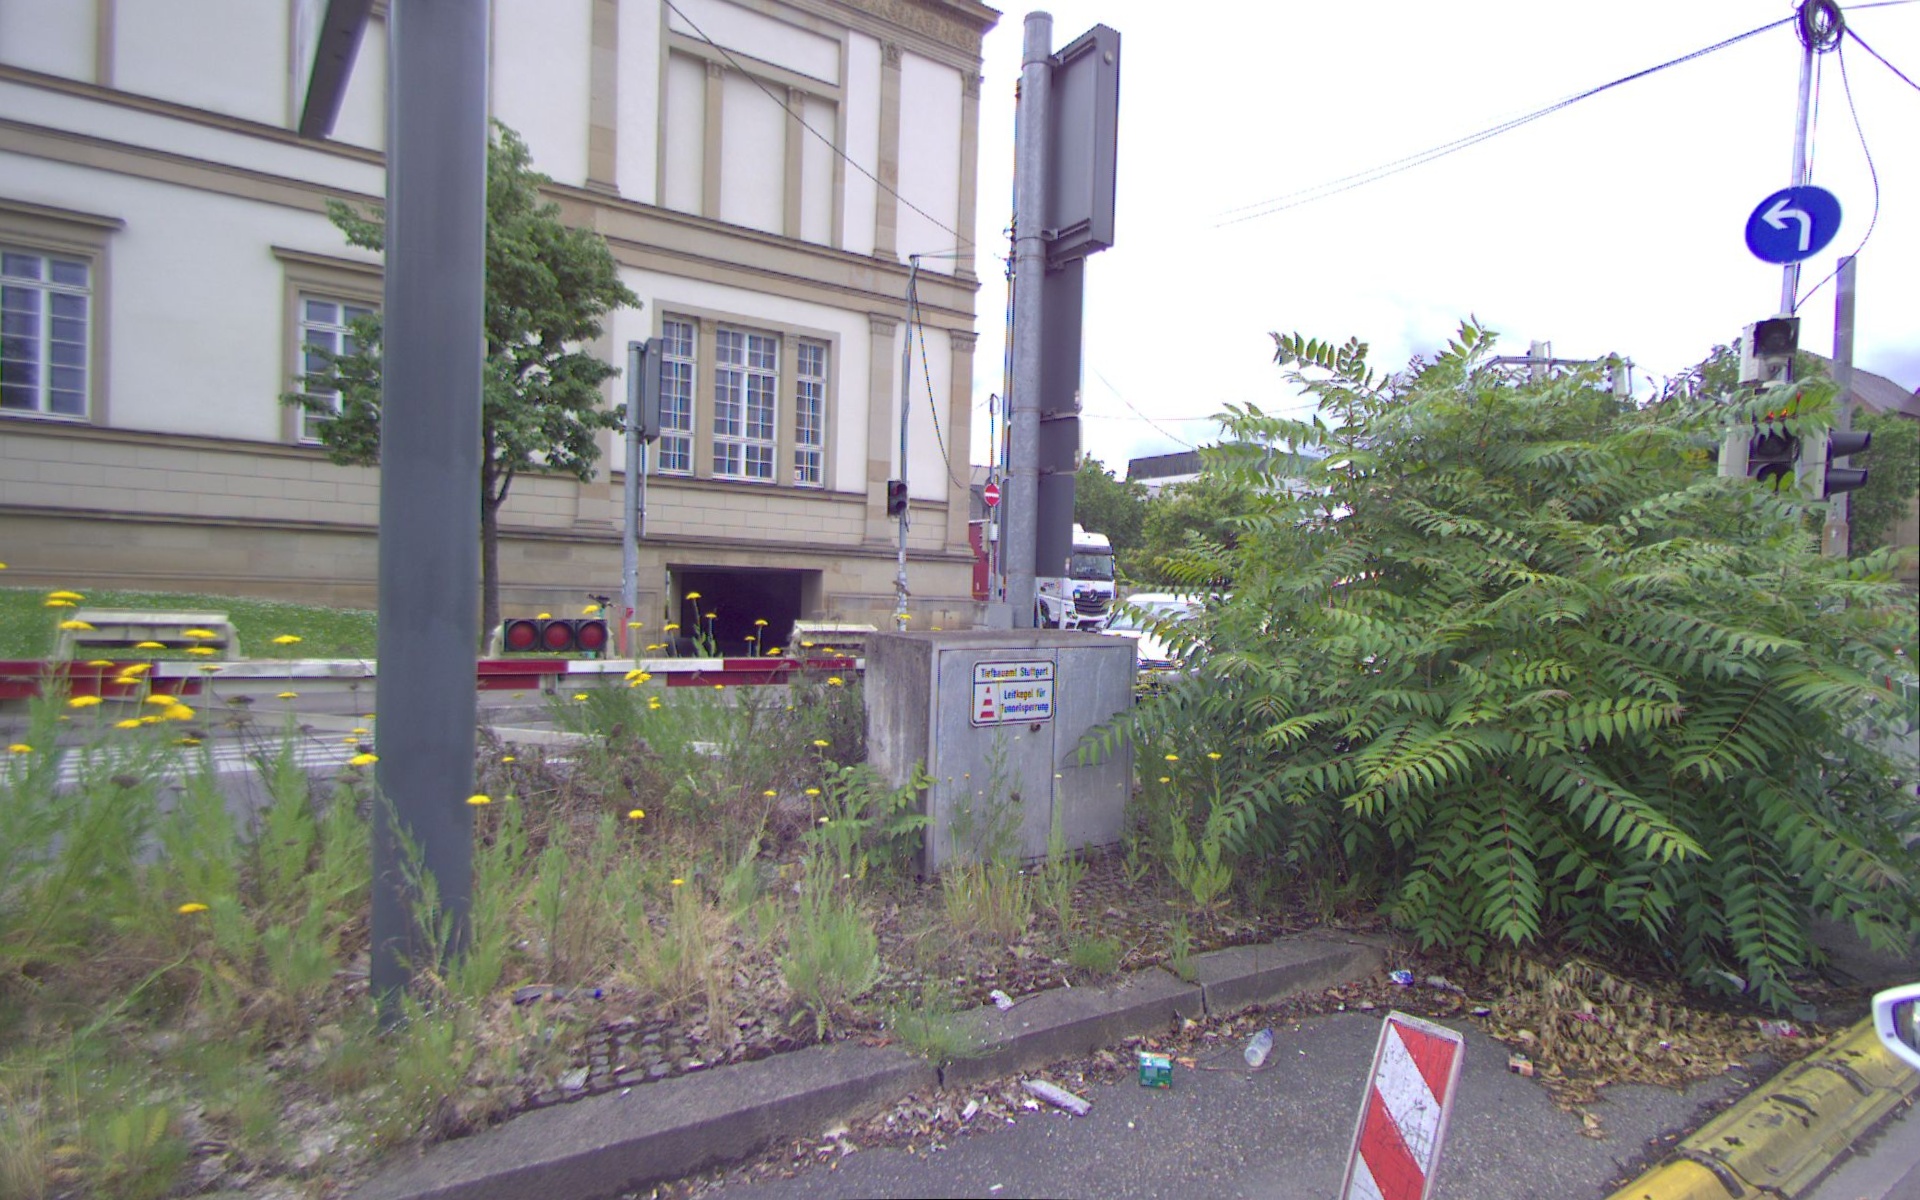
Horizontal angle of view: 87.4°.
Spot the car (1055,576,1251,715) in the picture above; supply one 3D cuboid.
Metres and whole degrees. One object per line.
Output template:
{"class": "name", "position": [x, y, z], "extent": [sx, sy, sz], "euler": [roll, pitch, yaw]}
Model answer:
{"class": "car", "position": [3.048, 0.612, 15.187], "extent": [1.804, 1.769, 3.995], "euler": [2, 0, 28]}

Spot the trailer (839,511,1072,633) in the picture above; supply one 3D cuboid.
{"class": "trailer", "position": [-0.761, -1.068, 42.648], "extent": [2.916, 4.338, 13.662], "euler": [2, 0, -33]}

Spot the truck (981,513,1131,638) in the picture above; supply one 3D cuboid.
{"class": "truck", "position": [3.366, -0.820, 36.192], "extent": [2.915, 4.118, 4.846], "euler": [2, 0, -34]}

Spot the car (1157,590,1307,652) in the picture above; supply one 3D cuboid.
{"class": "car", "position": [7.791, 0.564, 29.107], "extent": [1.810, 1.646, 4.032], "euler": [2, 0, -31]}

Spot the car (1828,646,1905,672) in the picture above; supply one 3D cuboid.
{"class": "car", "position": [55.778, 3.644, 61.809], "extent": [3.618, 1.417, 1.678], "euler": [2, 0, -12]}
